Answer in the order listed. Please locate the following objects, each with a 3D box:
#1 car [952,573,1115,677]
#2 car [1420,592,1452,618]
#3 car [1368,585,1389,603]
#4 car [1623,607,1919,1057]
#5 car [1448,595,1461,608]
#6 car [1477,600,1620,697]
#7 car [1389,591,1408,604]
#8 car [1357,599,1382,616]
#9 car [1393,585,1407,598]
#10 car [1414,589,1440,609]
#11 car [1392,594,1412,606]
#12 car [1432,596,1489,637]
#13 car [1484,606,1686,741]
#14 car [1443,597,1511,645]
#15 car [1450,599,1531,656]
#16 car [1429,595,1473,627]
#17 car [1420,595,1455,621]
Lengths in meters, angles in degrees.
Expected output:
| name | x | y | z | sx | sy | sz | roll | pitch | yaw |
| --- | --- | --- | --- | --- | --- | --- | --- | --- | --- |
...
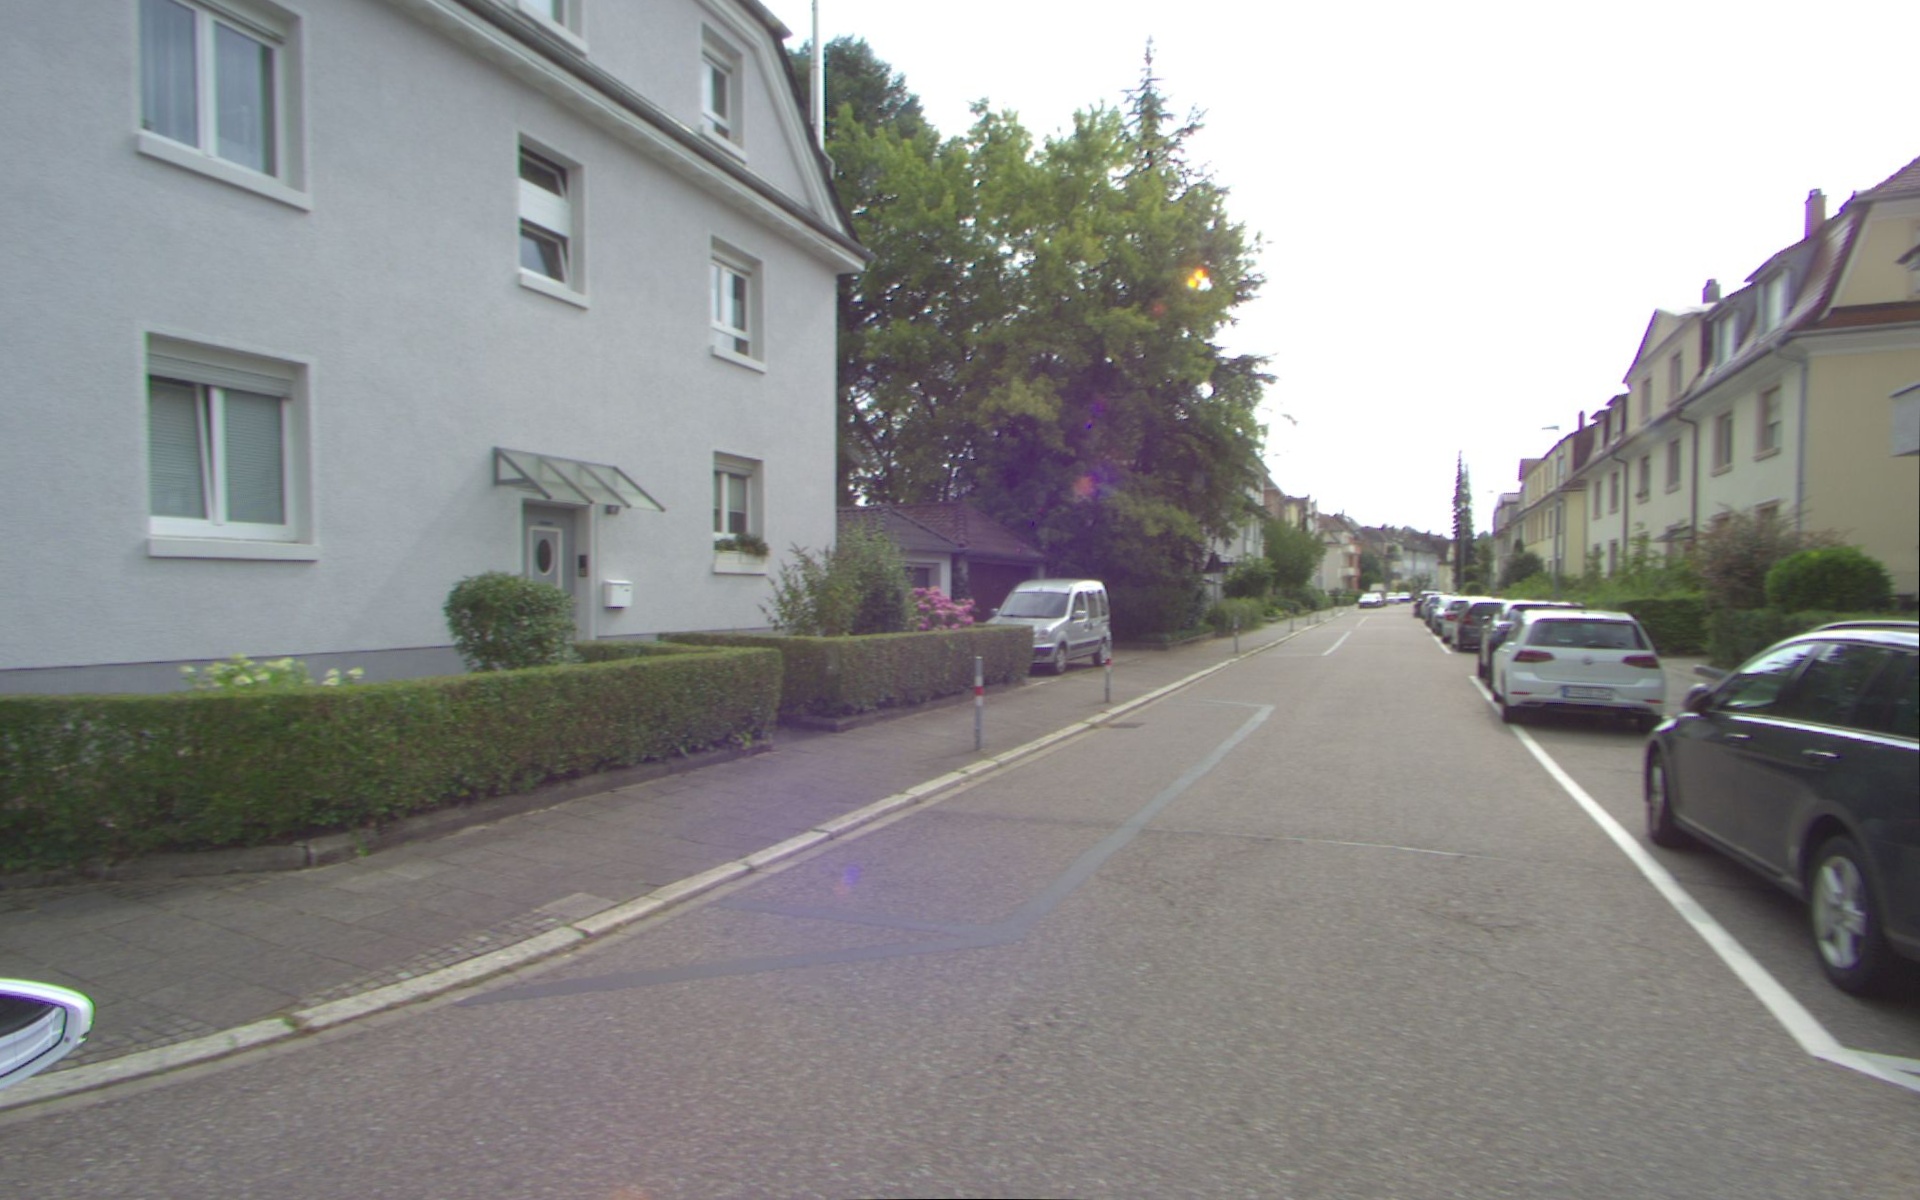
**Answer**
| name | x | y | z | sx | sy | sz | roll | pitch | yaw |
| --- | --- | --- | --- | --- | --- | --- | --- | --- | --- |
| car | 1.591 | 0.426 | 20.072 | 1.967 | 1.862 | 3.986 | 1 | 1 | 25 |
| car | 31.074 | 0.289 | 65.415 | 1.829 | 1.599 | 4.160 | 1 | 1 | 25 |
| car | 47.611 | -0.697 | 114.003 | 1.968 | 2.041 | 3.985 | 0 | 1 | 26 |
| car | 4.719 | 0.814 | 4.629 | 1.827 | 1.491 | 4.165 | 0 | 1 | 20 |
| car | 82.381 | 0.203 | 166.803 | 1.968 | 2.040 | 3.842 | -1 | 0 | 26 |
| car | 10.492 | 0.770 | 18.133 | 1.829 | 1.491 | 4.160 | 0 | 1 | 25 |
| car | 56.386 | -0.308 | 128.711 | 1.968 | 1.662 | 3.984 | 0 | 1 | 27 |
| car | 42.259 | 0.763 | 103.322 | 1.968 | 1.662 | 3.984 | 1 | 1 | 27 |
| car | 74.166 | -1.452 | 168.713 | 1.968 | 2.152 | 3.984 | 1 | 1 | 27 |
| car | 38.601 | -0.087 | 82.790 | 1.829 | 1.599 | 4.162 | 0 | 1 | 24 |
| car | 62.409 | 0.029 | 141.276 | 1.972 | 1.557 | 3.978 | -1 | 0 | 32 |
| car | 19.468 | 0.593 | 39.084 | 1.829 | 1.491 | 4.160 | 0 | 1 | 25 |
| car | 8.356 | 0.855 | 13.754 | 1.829 | 1.491 | 4.160 | 0 | 1 | 25 |
| car | 17.378 | 0.649 | 33.799 | 1.829 | 1.491 | 4.160 | 0 | 1 | 25 |
| car | 15.188 | 0.728 | 28.832 | 1.829 | 1.491 | 4.160 | 0 | 1 | 25 |
| car | 24.007 | 0.511 | 49.069 | 1.829 | 1.491 | 4.160 | 0 | 1 | 25 |
| car | 28.789 | 0.456 | 60.418 | 1.829 | 1.491 | 4.160 | 0 | 1 | 25 |
